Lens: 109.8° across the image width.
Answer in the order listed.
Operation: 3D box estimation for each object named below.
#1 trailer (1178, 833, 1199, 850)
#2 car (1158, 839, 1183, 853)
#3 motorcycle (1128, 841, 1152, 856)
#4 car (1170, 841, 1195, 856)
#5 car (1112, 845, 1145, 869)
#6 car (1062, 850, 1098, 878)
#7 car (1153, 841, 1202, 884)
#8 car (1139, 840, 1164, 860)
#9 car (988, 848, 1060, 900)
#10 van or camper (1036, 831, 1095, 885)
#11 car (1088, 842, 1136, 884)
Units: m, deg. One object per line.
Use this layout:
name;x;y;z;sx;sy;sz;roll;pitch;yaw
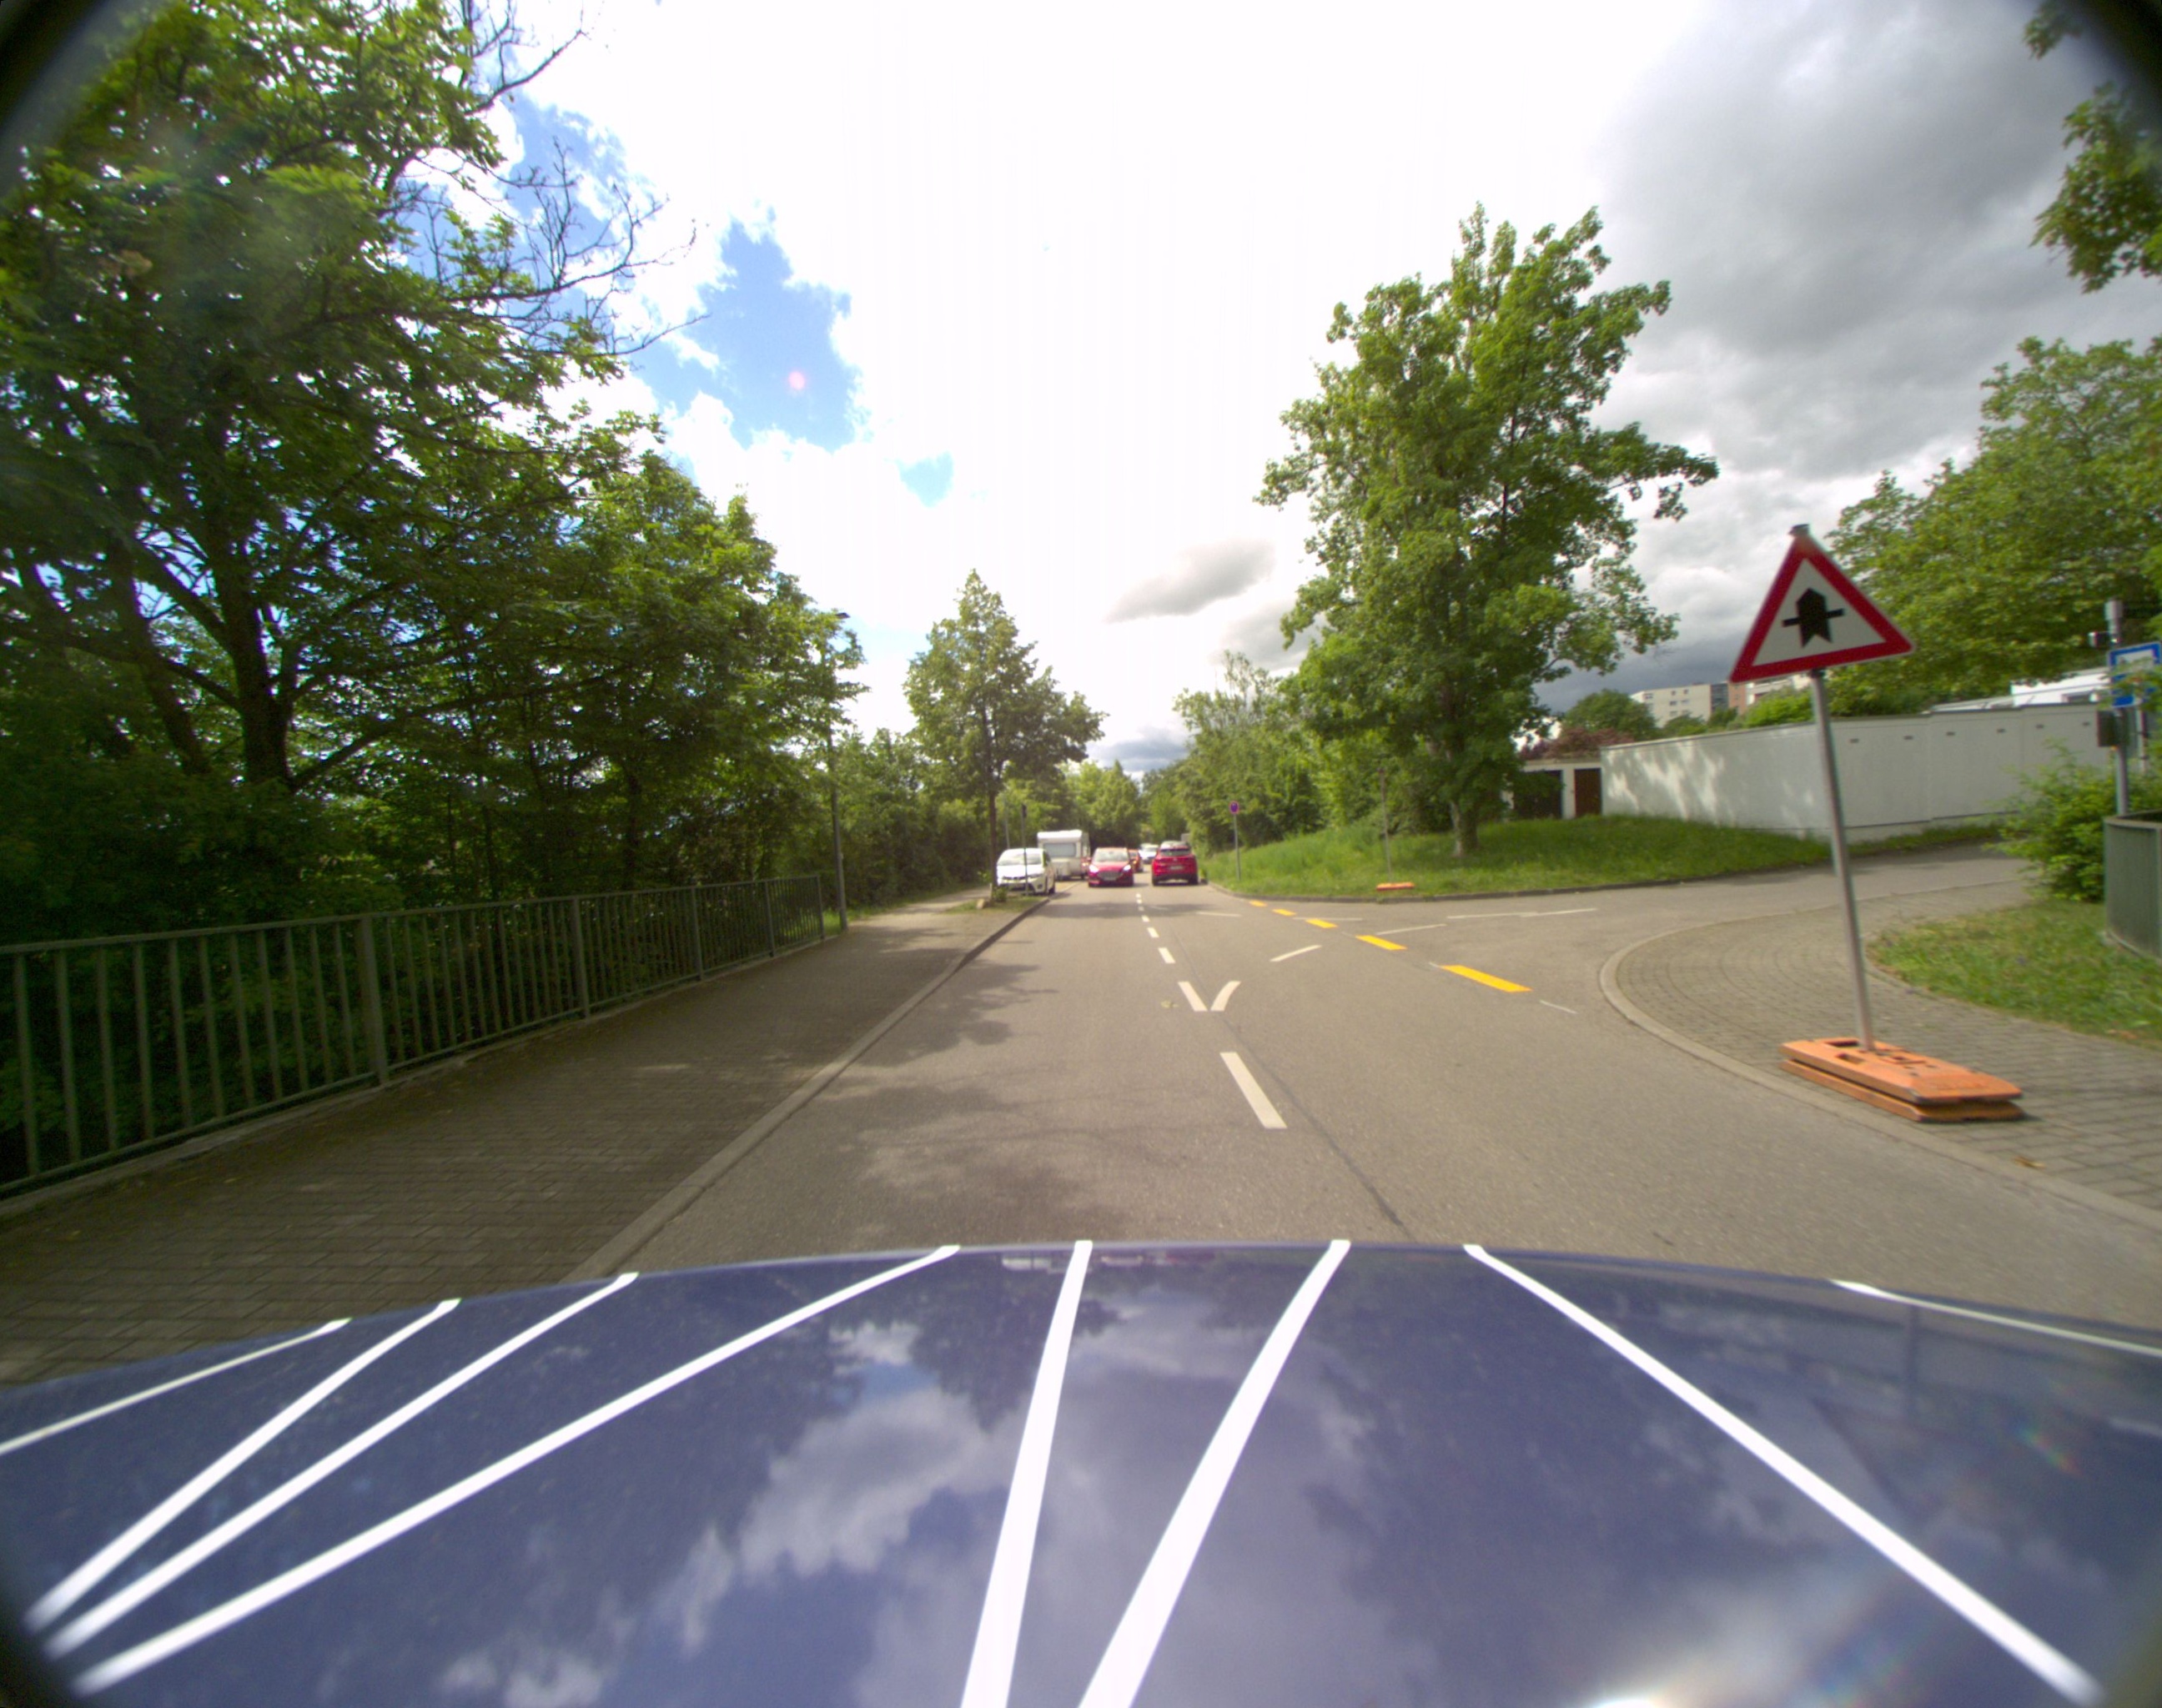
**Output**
trailer;14.024;-1.683;98.906;1.731;2.067;3.787;0;4;23
car;10.752;-0.951;90.840;1.864;1.469;4.907;0;3;20
motorcycle;5.881;-0.544;76.155;2.306;1.468;0.977;1;4;42
car;10.995;-0.639;82.052;1.793;1.500;4.118;1;2;21
car;3.115;0.187;49.079;1.795;1.405;4.115;-3;1;8
car;-0.017;0.568;44.945;1.685;1.442;4.481;-2;1;5
car;4.069;0.322;32.664;1.847;1.649;4.222;-3;0;5
car;6.092;-0.339;65.317;1.794;1.501;4.114;-1;3;11
car;-1.852;0.619;26.012;1.809;1.590;4.372;-1;0;4
van or camper;-0.673;0.147;38.409;2.359;2.539;5.075;-1;1;5
car;1.394;0.347;32.853;1.911;1.689;4.387;0;1;4
